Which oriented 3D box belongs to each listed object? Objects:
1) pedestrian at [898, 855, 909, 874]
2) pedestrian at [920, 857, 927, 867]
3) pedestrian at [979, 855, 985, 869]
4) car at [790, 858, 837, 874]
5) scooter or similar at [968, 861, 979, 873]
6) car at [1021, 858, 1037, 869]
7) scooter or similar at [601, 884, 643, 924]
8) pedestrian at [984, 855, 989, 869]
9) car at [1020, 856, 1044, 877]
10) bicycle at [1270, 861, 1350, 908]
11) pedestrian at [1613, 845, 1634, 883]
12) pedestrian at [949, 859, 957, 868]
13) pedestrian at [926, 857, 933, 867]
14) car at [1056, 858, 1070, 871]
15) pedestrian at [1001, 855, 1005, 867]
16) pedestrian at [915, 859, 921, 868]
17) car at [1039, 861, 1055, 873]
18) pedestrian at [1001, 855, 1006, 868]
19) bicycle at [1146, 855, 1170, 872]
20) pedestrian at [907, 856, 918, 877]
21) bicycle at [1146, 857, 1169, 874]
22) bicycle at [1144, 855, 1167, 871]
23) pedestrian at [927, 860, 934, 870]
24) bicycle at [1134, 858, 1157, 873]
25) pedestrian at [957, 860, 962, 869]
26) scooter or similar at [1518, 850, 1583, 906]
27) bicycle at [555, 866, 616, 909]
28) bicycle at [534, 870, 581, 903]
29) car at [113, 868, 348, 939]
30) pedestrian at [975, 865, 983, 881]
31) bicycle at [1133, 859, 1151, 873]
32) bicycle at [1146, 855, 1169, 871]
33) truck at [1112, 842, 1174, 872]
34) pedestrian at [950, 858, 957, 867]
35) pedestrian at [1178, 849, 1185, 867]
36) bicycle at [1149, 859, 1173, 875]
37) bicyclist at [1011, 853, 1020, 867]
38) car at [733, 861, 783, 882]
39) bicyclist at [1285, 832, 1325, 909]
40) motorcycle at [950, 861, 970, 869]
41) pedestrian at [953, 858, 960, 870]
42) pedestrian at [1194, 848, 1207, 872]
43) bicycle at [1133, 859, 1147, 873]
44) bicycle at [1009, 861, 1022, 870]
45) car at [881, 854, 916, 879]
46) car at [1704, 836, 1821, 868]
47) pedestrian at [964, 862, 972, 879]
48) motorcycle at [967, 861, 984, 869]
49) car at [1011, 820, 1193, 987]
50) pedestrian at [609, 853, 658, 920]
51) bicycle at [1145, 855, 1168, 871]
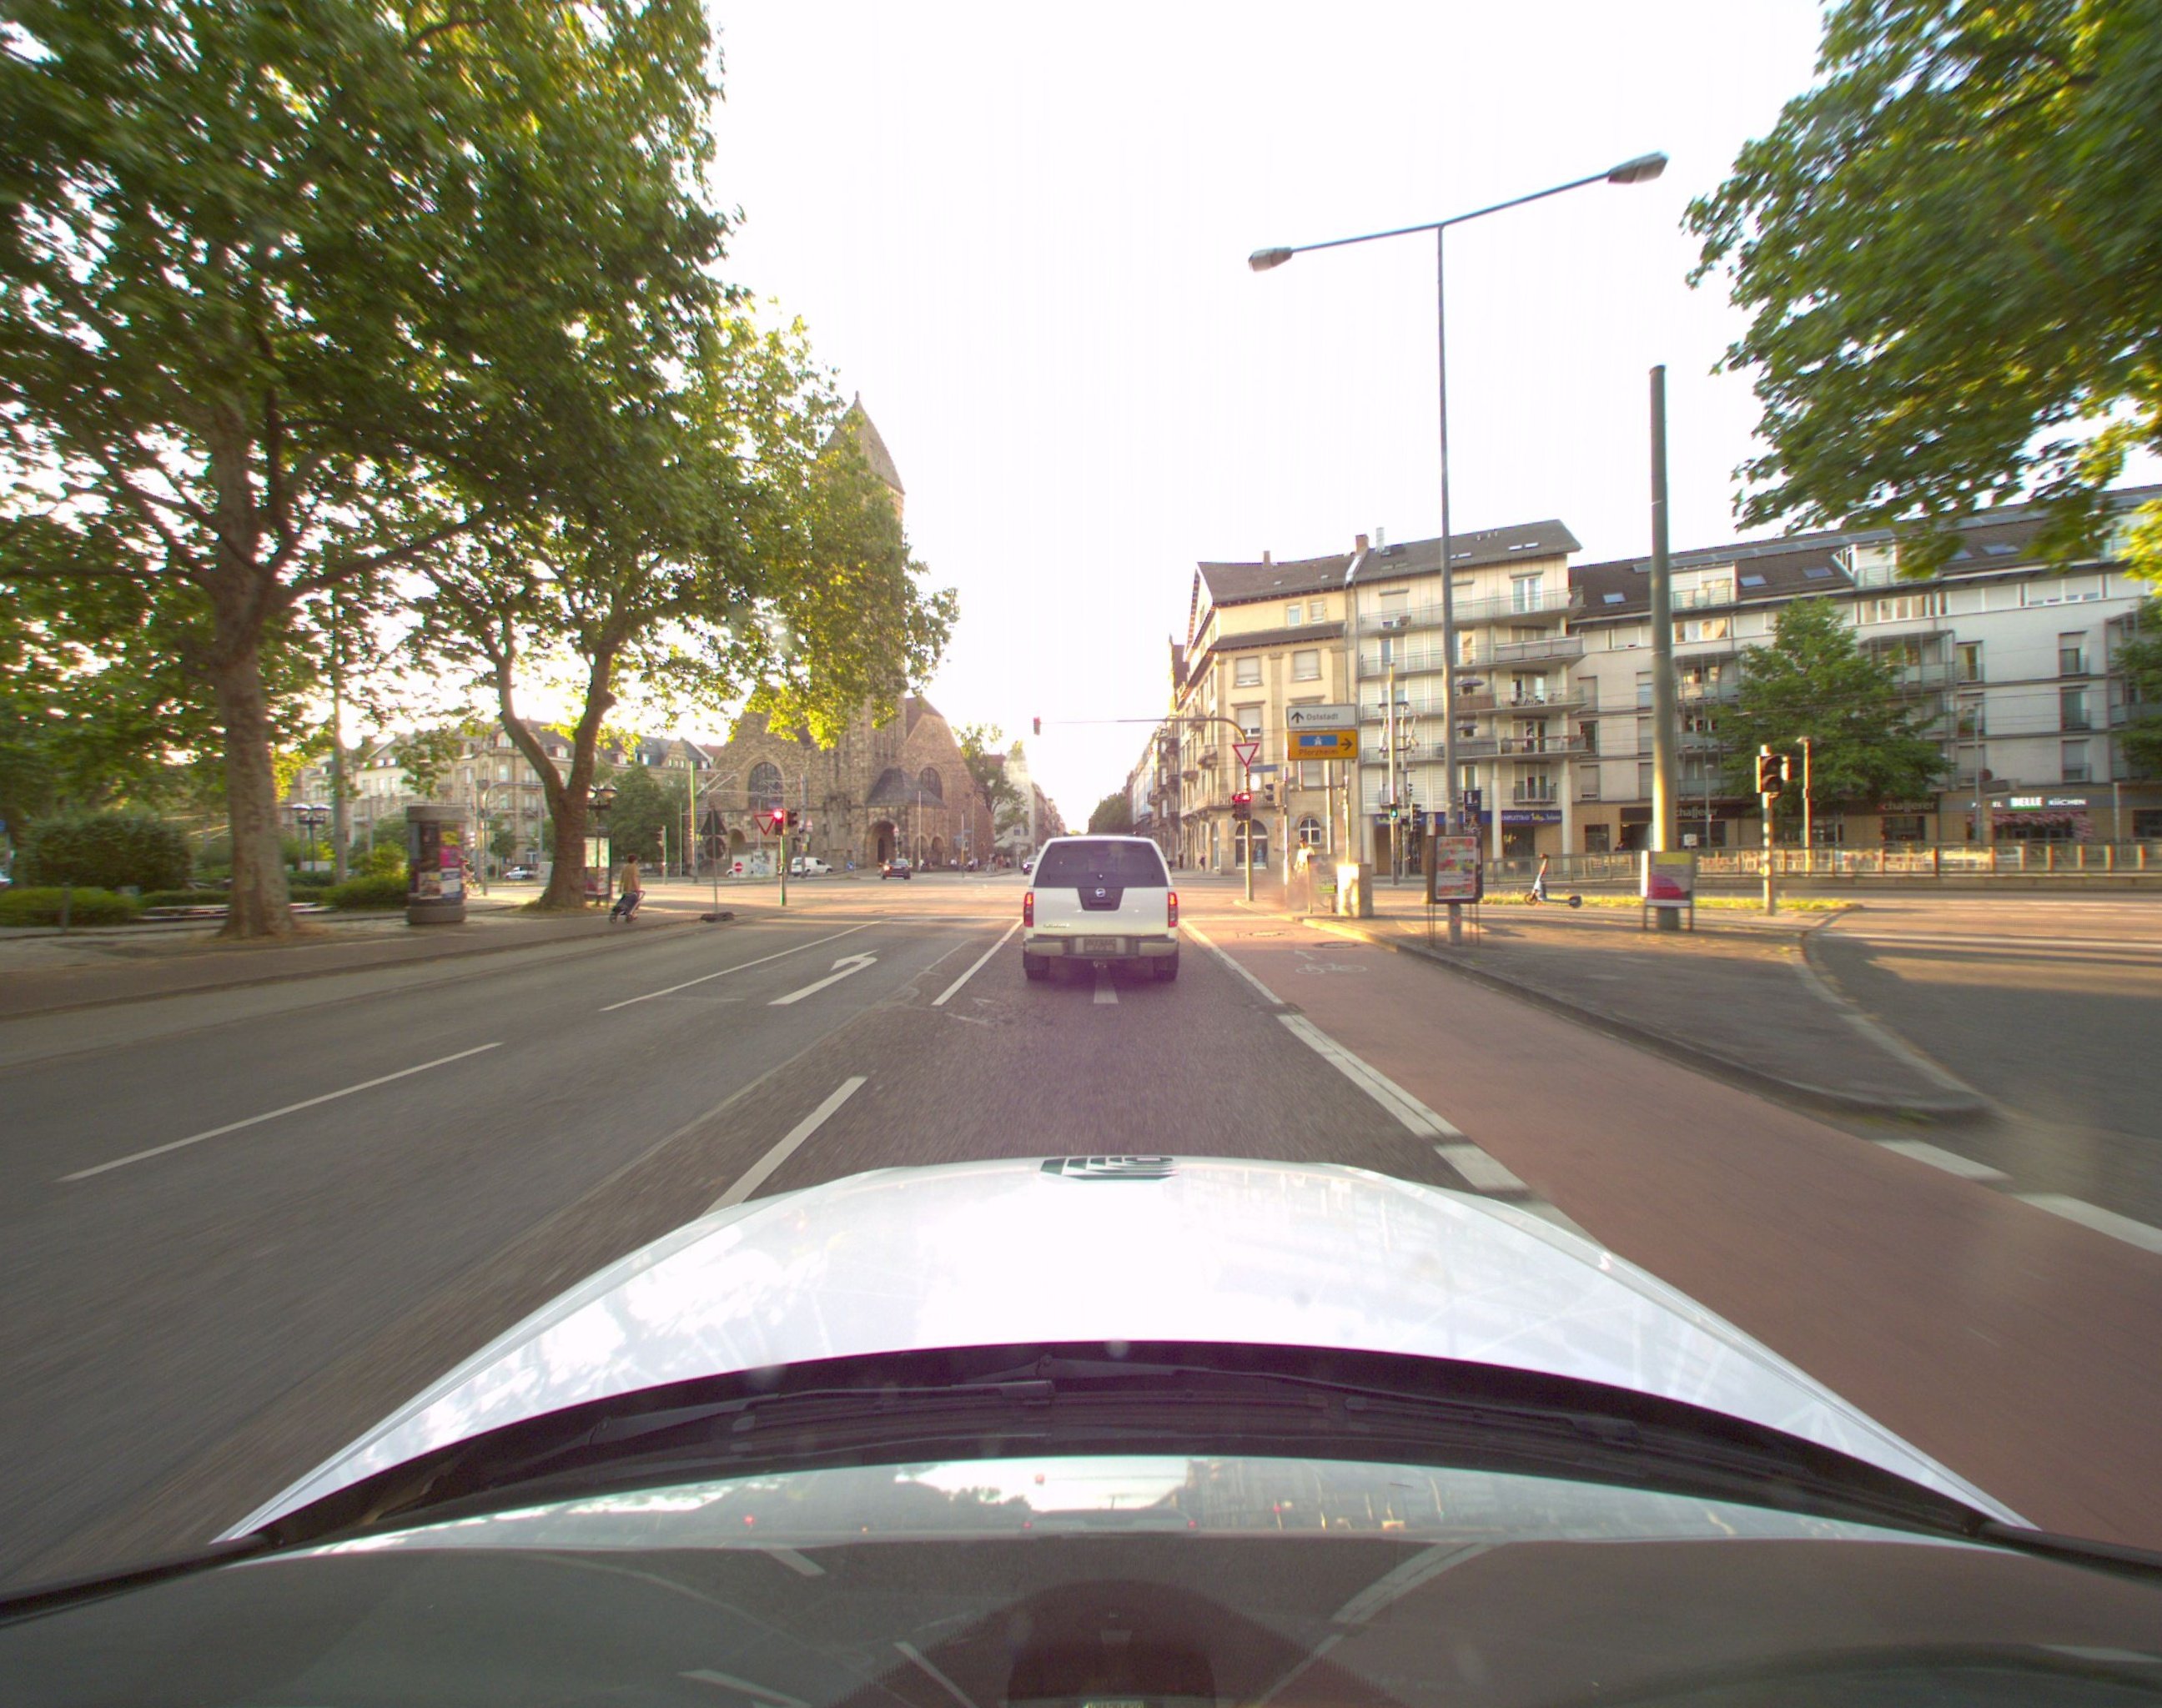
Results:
[{"bbox_3d":[-15.606,0.932,71.541,0.809,1.669,0.859,0,-1,0],"label":"pedestrian"},{"bbox_3d":[-15.389,0.809,79.747,0.517,0.960,0.482,0,-1,21],"label":"pedestrian"},{"bbox_3d":[-12.453,1.036,102.352,0.642,1.695,0.560,0,-1,-7],"label":"pedestrian"},{"bbox_3d":[-26.073,1.183,79.599,1.698,1.517,4.481,-1,-1,26],"label":"car"},{"bbox_3d":[-10.963,1.287,83.086,0.628,1.103,1.084,2,3,19],"label":"scooter or similar"},{"bbox_3d":[-6.893,1.272,108.163,1.852,1.398,4.000,0,-1,1],"label":"car"},{"bbox_3d":[-10.945,1.181,19.434,0.591,0.898,0.849,0,-1,-9],"label":"scooter or similar"},{"bbox_3d":[-12.147,1.021,104.537,0.640,1.695,0.562,0,-1,1],"label":"pedestrian"},{"bbox_3d":[-4.698,1.163,78.737,1.987,1.784,4.797,1,1,0],"label":"car"},{"bbox_3d":[5.593,0.719,19.824,2.078,1.109,0.622,0,-1,-31],"label":"bicycle"},{"bbox_3d":[31.466,0.575,47.240,0.860,2.209,0.825,0,-1,21],"label":"pedestrian"},{"bbox_3d":[-14.666,1.070,93.218,0.547,0.960,0.713,0,-1,22],"label":"pedestrian"},{"bbox_3d":[-14.778,0.804,79.457,0.517,0.960,0.482,0,-1,21],"label":"pedestrian"},{"bbox_3d":[-2.893,1.646,128.843,1.987,2.014,4.950,-1,-1,1],"label":"car"},{"bbox_3d":[-10.725,0.937,111.351,0.559,1.695,0.643,0,-1,-6],"label":"pedestrian"},{"bbox_3d":[-17.897,1.029,89.309,0.551,0.960,0.708,0,-1,-5],"label":"pedestrian"},{"bbox_3d":[-4.658,1.821,112.838,1.987,1.558,4.768,1,0,0],"label":"car"},{"bbox_3d":[-10.503,1.010,110.505,0.643,1.855,0.559,0,-1,-13],"label":"pedestrian"},{"bbox_3d":[6.375,0.779,67.388,1.812,1.238,0.488,-4,-1,-1],"label":"bicycle"},{"bbox_3d":[-14.813,1.104,71.475,0.809,1.901,0.666,0,-1,-1],"label":"pedestrian"},{"bbox_3d":[6.372,0.962,68.097,1.812,1.238,0.477,-4,-1,-1],"label":"bicycle"},{"bbox_3d":[6.407,0.783,69.962,1.849,1.238,0.530,-4,-1,-1],"label":"bicycle"},{"bbox_3d":[-14.863,1.094,80.627,0.473,0.960,0.526,-1,-1,31],"label":"pedestrian"},{"bbox_3d":[5.297,0.946,66.936,1.721,1.083,0.317,-4,-1,-1],"label":"bicycle"},{"bbox_3d":[-12.688,1.086,85.027,0.522,0.960,0.477,0,-1,-14],"label":"pedestrian"},{"bbox_3d":[10.796,0.532,18.747,1.219,1.249,0.518,-1,-1,41],"label":"scooter or similar"},{"bbox_3d":[-15.624,1.032,25.732,0.522,1.326,1.998,0,-1,7],"label":"bicycle"},{"bbox_3d":[-17.849,1.096,27.816,0.456,1.093,1.798,0,-1,0],"label":"bicycle"},{"bbox_3d":[-26.585,1.476,25.680,1.975,1.781,4.669,-2,1,27],"label":"car"},{"bbox_3d":[-10.558,1.968,83.903,0.629,1.698,0.605,0,-1,15],"label":"pedestrian"},{"bbox_3d":[5.120,0.995,68.536,1.367,1.024,0.317,-4,-1,-1],"label":"bicycle"},{"bbox_3d":[6.484,0.767,68.823,1.812,1.238,0.412,-4,-1,-1],"label":"bicycle"},{"bbox_3d":[5.597,0.293,73.036,5.704,2.565,2.260,0,-1,-42],"label":"truck"},{"bbox_3d":[-13.324,0.870,85.134,0.517,0.960,0.481,0,-1,19],"label":"pedestrian"},{"bbox_3d":[8.863,0.350,71.766,0.525,1.654,0.547,0,-1,1],"label":"pedestrian"},{"bbox_3d":[6.487,1.072,66.440,1.812,1.150,0.636,-4,-1,-1],"label":"bicycle"},{"bbox_3d":[-7.952,0.721,98.825,0.603,1.645,0.953,1,-1,-34],"label":"bicyclist"},{"bbox_3d":[-26.691,1.450,67.349,3.948,1.684,2.013,-1,-1,36],"label":"car"},{"bbox_3d":[5.419,0.388,19.722,0.701,1.824,0.622,0,-1,-31],"label":"bicyclist"},{"bbox_3d":[-14.304,1.313,96.451,2.239,0.988,0.707,0,-1,-4],"label":"motorcycle"},{"bbox_3d":[-13.251,1.073,86.776,0.474,1.245,0.526,0,-1,19],"label":"pedestrian"},{"bbox_3d":[8.835,0.423,60.090,0.779,1.779,0.546,-1,-1,27],"label":"pedestrian"},{"bbox_3d":[4.904,1.002,67.829,1.073,1.024,0.317,-4,-1,-1],"label":"bicycle"},{"bbox_3d":[-7.933,1.379,98.798,0.603,1.043,1.924,1,-1,-35],"label":"bicycle"},{"bbox_3d":[-12.326,0.882,55.172,1.993,1.618,3.987,0,-2,-9],"label":"car"},{"bbox_3d":[32.906,-0.062,39.470,3.952,1.486,1.859,0,-1,21],"label":"car"},{"bbox_3d":[-11.650,1.708,84.126,0.628,1.699,0.606,0,-2,20],"label":"pedestrian"},{"bbox_3d":[-13.044,1.362,100.739,2.146,0.988,0.597,0,-1,21],"label":"motorcycle"},{"bbox_3d":[0.297,0.559,10.887,1.986,1.809,4.001,0,-1,2],"label":"car"},{"bbox_3d":[-11.141,0.802,20.293,0.800,1.628,0.773,0,-1,-3],"label":"pedestrian"},{"bbox_3d":[6.432,0.774,69.430,1.812,1.238,0.410,-4,-1,-1],"label":"bicycle"}]
